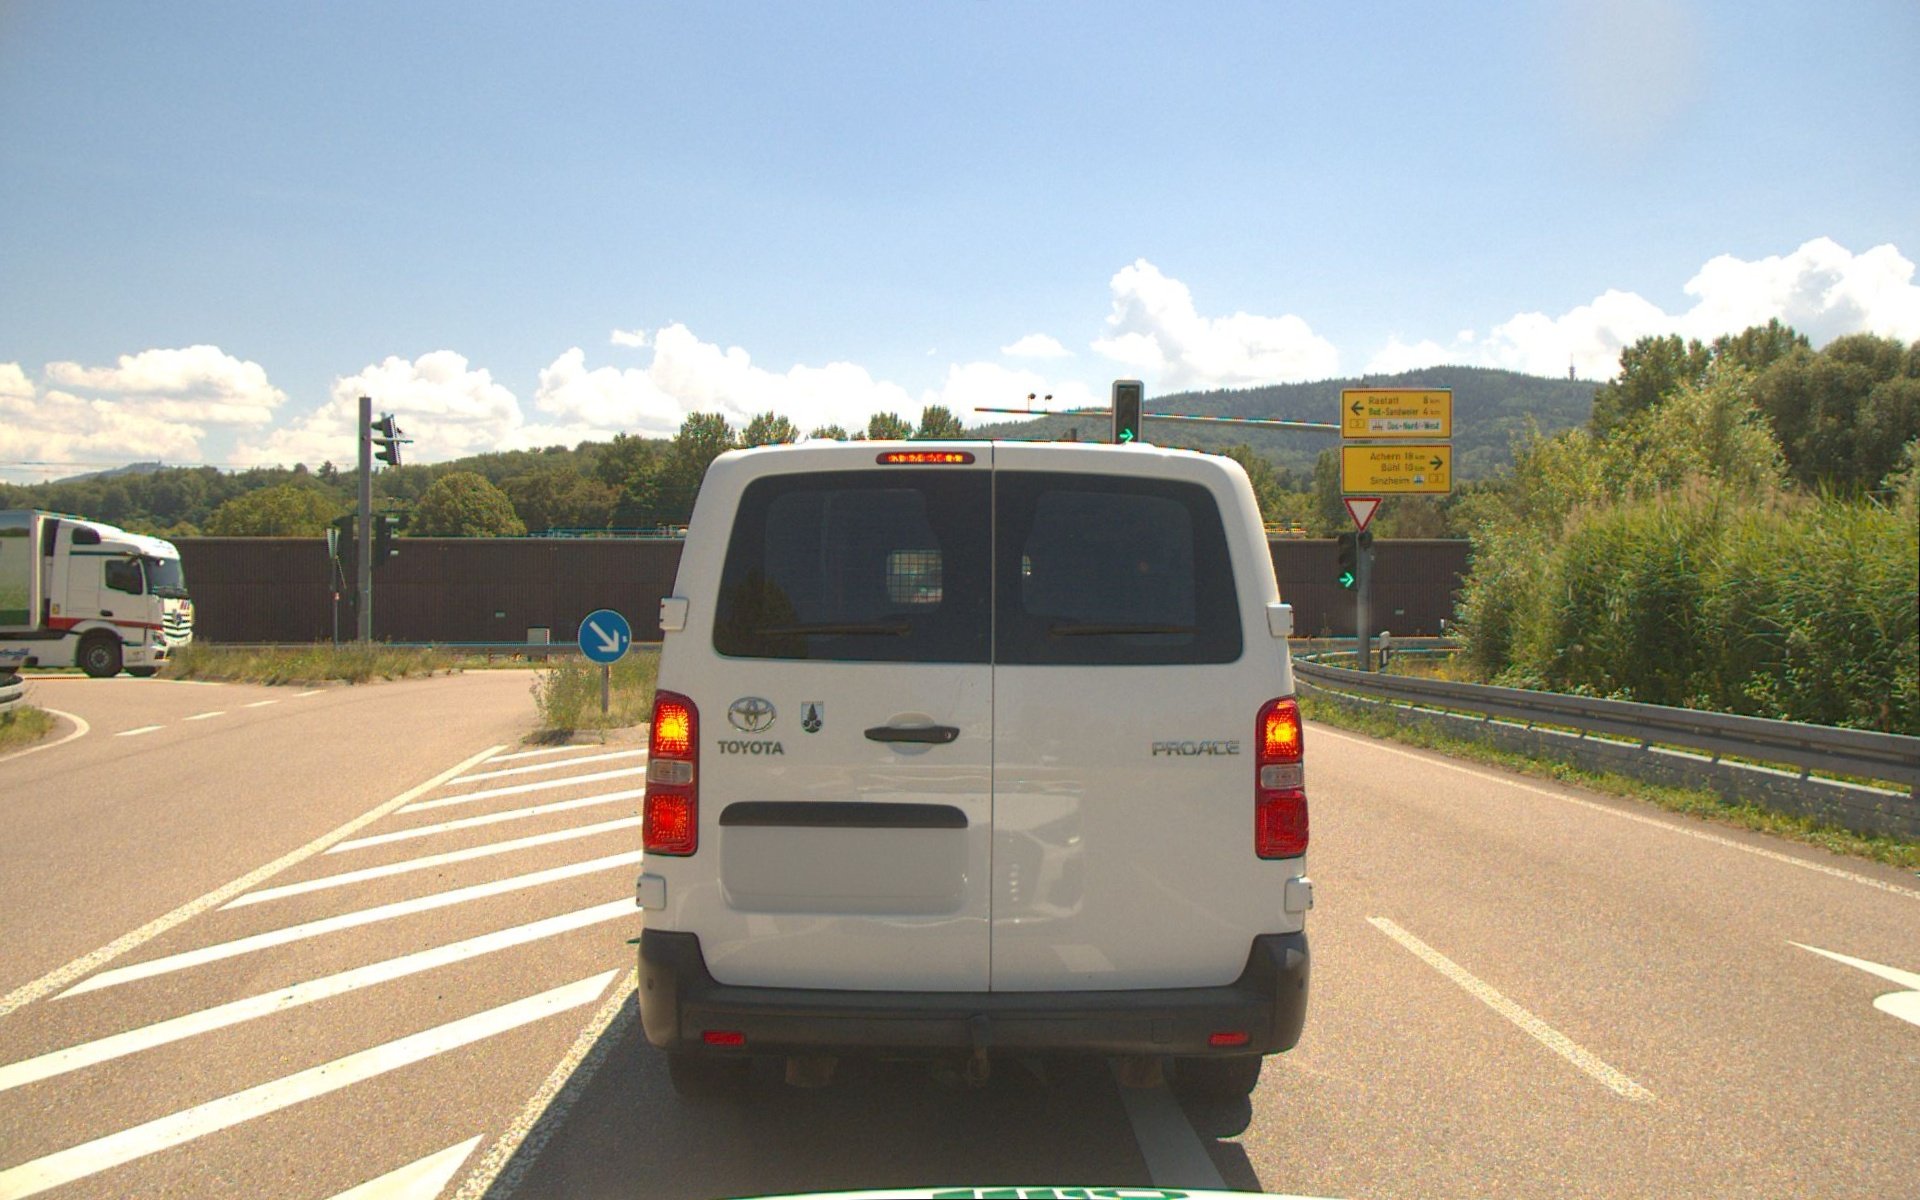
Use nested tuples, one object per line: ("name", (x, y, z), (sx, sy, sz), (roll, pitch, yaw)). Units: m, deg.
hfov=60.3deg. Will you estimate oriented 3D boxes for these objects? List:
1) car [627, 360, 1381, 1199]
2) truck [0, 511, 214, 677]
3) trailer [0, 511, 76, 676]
("car", (0.079, 0.474, 5.913), (1.778, 2.053, 3.999), (0, 0, -1))
("truck", (-22.384, -0.138, 41.776), (5.649, 4.024, 3.061), (0, -1, -3))
("trailer", (-29.513, -0.176, 41.439), (12.877, 4.024, 3.060), (0, -1, -3))
